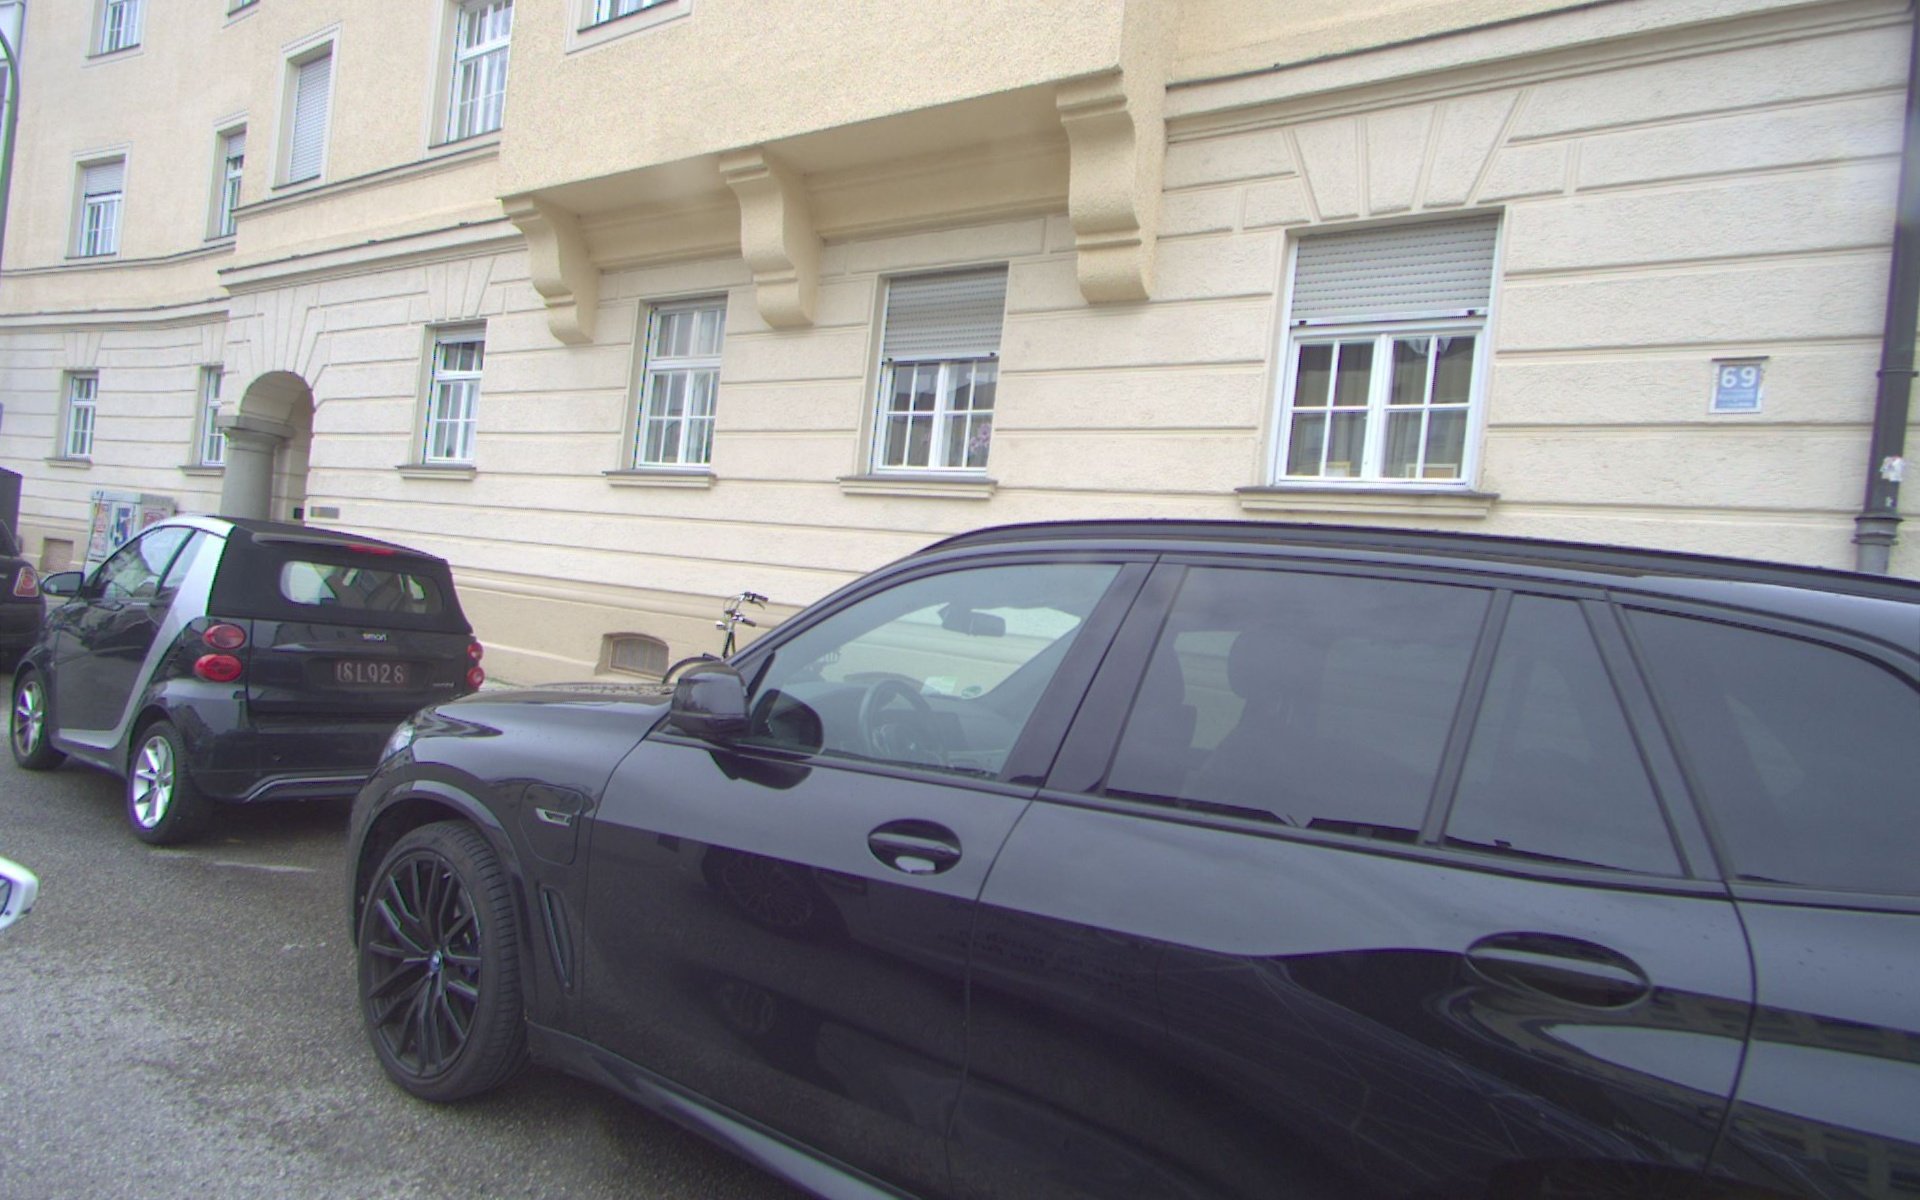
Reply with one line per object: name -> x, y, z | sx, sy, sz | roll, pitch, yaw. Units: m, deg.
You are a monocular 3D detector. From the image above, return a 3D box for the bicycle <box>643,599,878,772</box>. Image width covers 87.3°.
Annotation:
bicycle -> -1.647, 0.636, 8.131 | 1.921, 1.097, 0.579 | 7, 3, 32

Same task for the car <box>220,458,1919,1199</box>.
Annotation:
car -> 0.181, 0.698, 2.805 | 4.786, 1.737, 1.872 | 6, -2, 32

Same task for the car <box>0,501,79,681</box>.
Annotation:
car -> -9.679, -0.280, 8.955 | 3.768, 1.464, 1.711 | 6, -2, 33

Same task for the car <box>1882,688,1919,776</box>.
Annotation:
car -> 19.801, 2.676, 18.448 | 4.168, 1.568, 1.932 | 6, 1, -7

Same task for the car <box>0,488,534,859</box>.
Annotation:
car -> -4.164, 0.301, 5.853 | 3.060, 1.541, 1.537 | 6, -2, 33
